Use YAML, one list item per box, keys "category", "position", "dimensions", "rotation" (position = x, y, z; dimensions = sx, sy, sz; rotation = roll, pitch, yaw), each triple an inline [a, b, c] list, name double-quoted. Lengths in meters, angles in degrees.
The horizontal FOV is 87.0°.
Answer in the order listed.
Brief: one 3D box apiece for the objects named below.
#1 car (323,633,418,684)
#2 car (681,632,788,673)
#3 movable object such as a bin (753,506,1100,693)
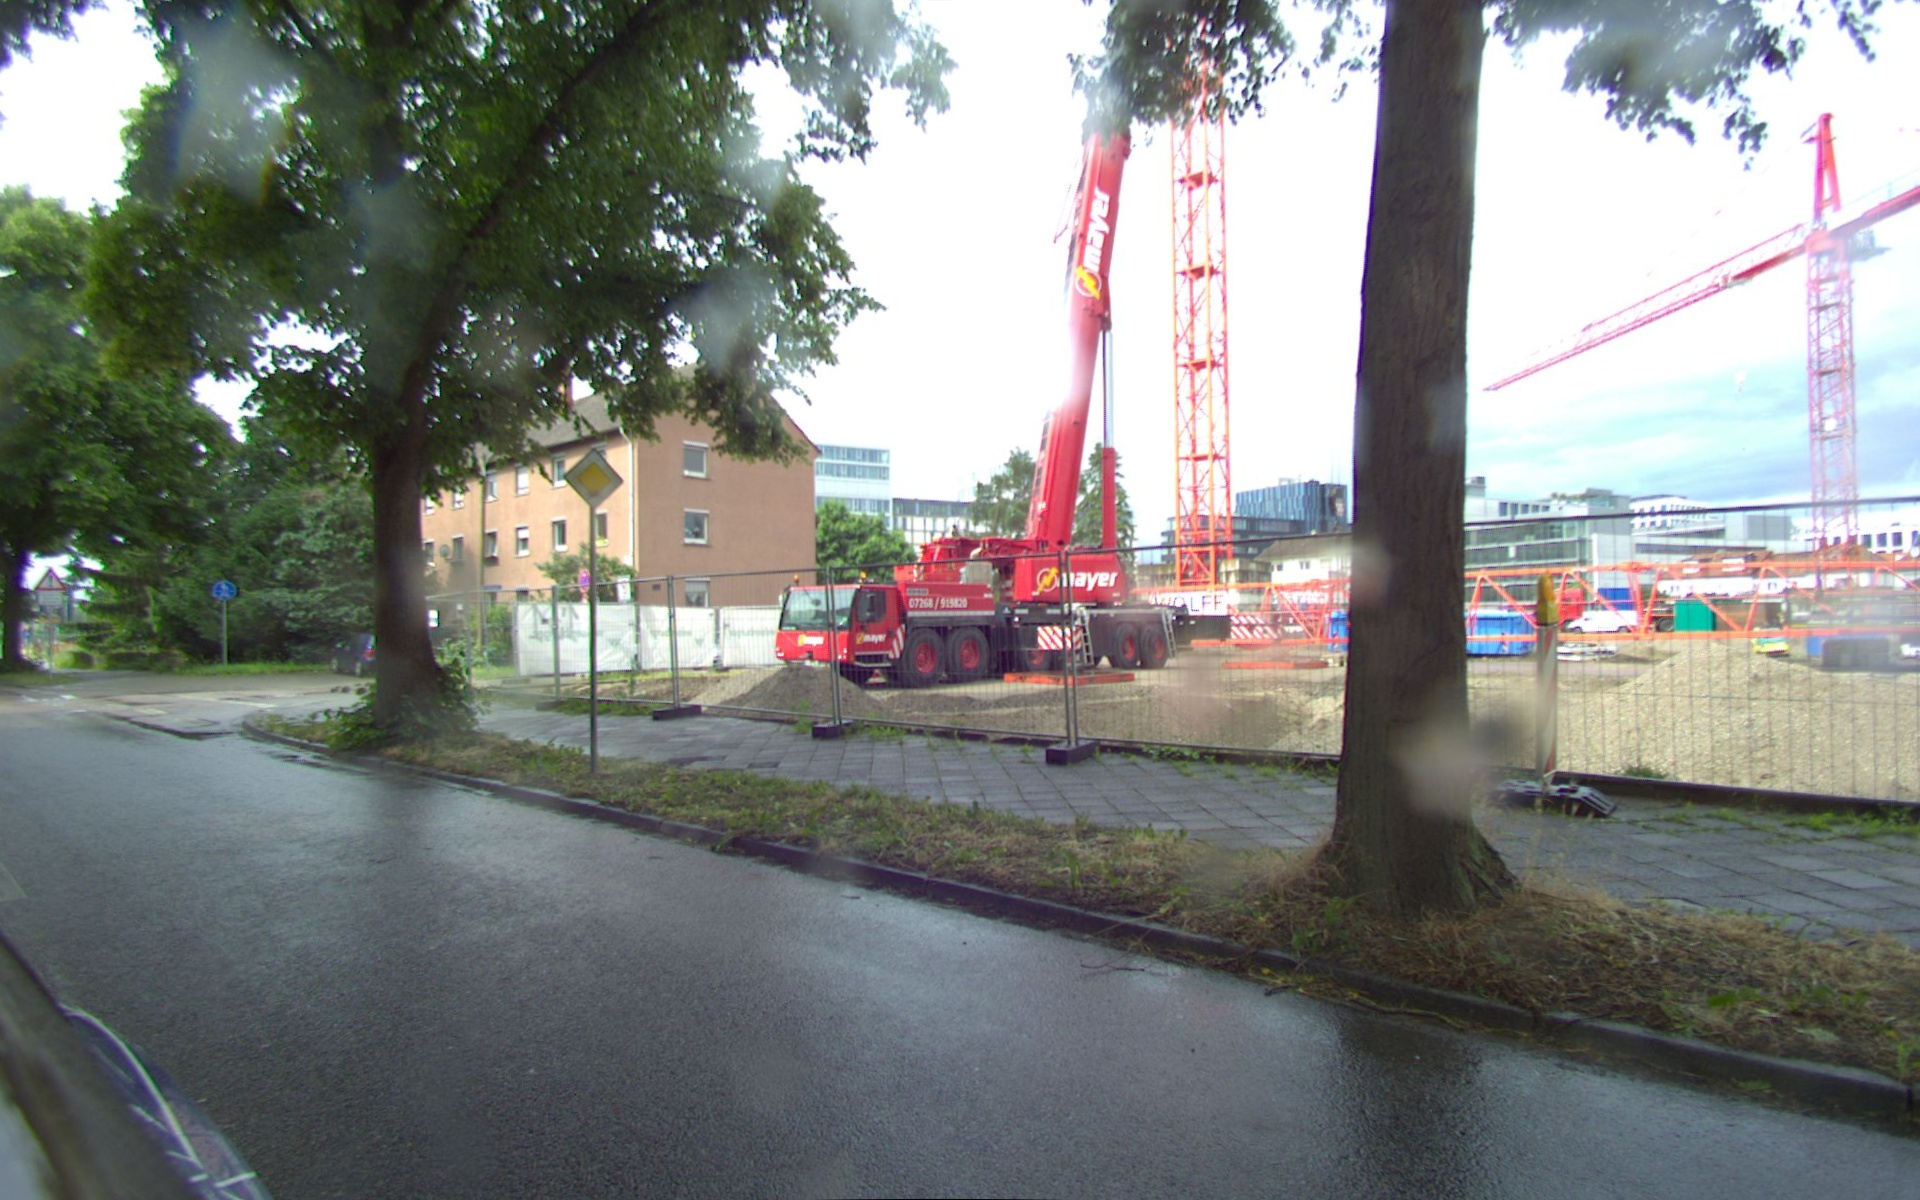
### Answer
- category: "car"
  position: [-19.511, 1.882, 33.425]
  dimensions: [3.869, 1.431, 1.607]
  rotation: [0, 1, 42]
- category: "car"
  position: [-8.585, 1.973, 38.821]
  dimensions: [1.721, 1.424, 4.025]
  rotation: [-2, -2, 30]
- category: "movable object such as a bin"
  position: [-0.493, 0.041, 27.154]
  dimensions: [3.366, 4.147, 9.704]
  rotation: [-3, -2, 43]
